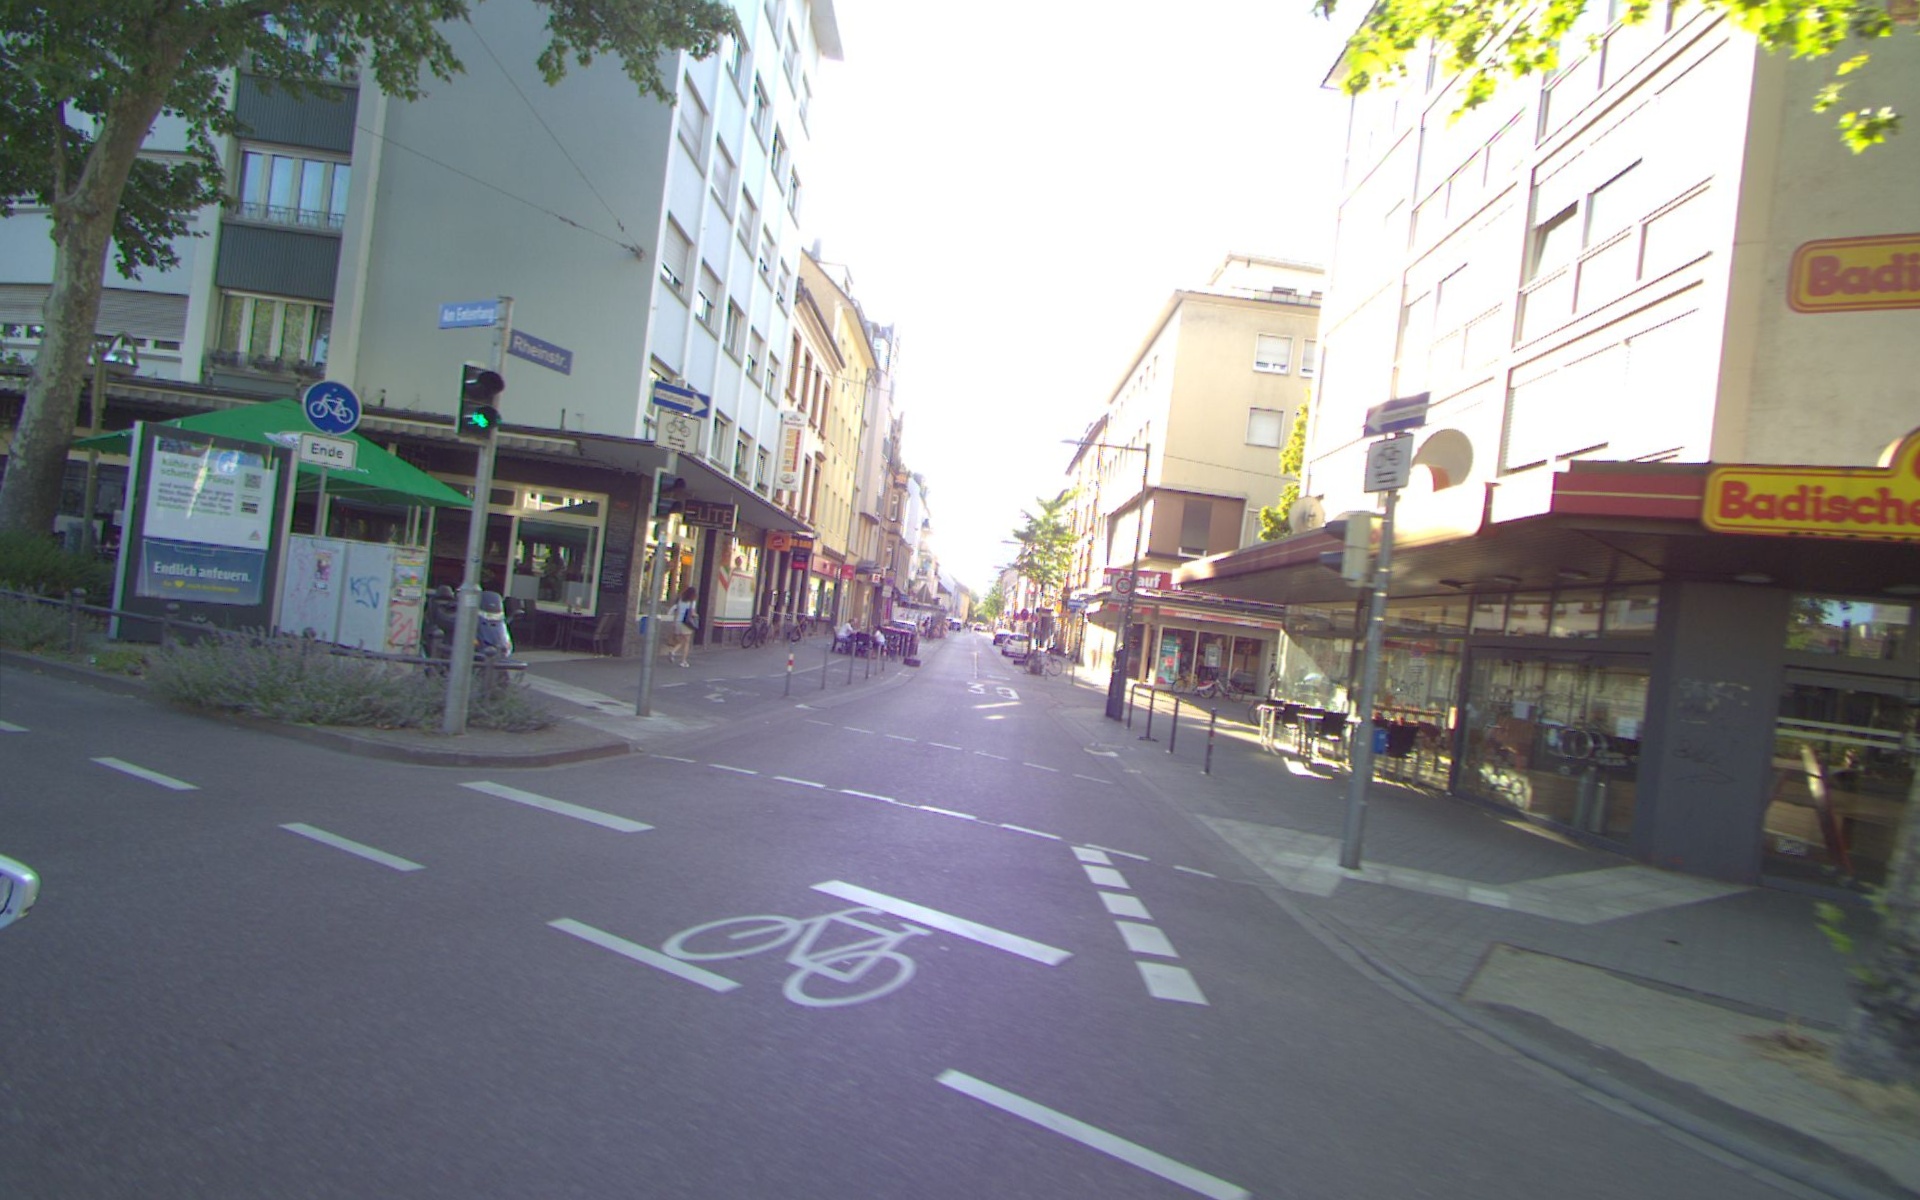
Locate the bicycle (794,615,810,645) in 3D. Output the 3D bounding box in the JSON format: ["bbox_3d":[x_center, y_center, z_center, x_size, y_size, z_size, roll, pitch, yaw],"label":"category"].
[{"bbox_3d":[-6.174,1.159,39.391,0.289,1.054,1.717,5,1,0],"label":"bicycle"}]

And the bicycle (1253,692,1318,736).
[{"bbox_3d":[9.097,3.178,28.125,1.577,0.993,0.357,8,-1,0],"label":"bicycle"}]

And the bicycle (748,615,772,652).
[{"bbox_3d":[-6.053,1.010,30.484,0.289,1.053,1.719,5,-1,0],"label":"bicycle"}]

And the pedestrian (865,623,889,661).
[{"bbox_3d":[-2.985,1.525,36.270,0.682,1.257,0.598,9,-1,-3],"label":"pedestrian"}]

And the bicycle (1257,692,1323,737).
[{"bbox_3d":[9.085,3.145,27.702,1.577,0.993,0.357,8,-1,0],"label":"bicycle"}]

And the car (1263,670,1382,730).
[{"bbox_3d":[13.243,3.629,36.903,3.661,1.607,1.660,7,-1,4],"label":"car"}]

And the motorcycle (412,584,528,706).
[{"bbox_3d":[-5.508,0.484,11.274,1.441,1.171,0.569,6,-3,44],"label":"motorcycle"}]

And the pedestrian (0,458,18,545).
[{"bbox_3d":[-19.635,-2.018,20.492,0.303,1.737,0.358,8,-1,26],"label":"pedestrian"}]

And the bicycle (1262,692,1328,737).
[{"bbox_3d":[9.094,3.098,27.304,1.577,0.993,0.357,8,-1,0],"label":"bicycle"}]

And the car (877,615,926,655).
[{"bbox_3d":[-2.682,1.605,46.928,1.808,1.513,4.000,9,-1,1],"label":"car"}]

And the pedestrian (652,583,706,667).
[{"bbox_3d":[-5.650,0.499,20.215,0.709,1.566,0.600,9,-2,-28],"label":"pedestrian"}]

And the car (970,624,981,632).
[{"bbox_3d":[2.876,5.240,187.335,1.808,1.323,4.002,7,-1,3],"label":"car"}]

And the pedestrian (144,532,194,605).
[{"bbox_3d":[-14.285,-0.557,18.165,0.392,1.252,0.452,7,0,1],"label":"pedestrian"}]

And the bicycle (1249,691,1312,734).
[{"bbox_3d":[9.088,3.195,28.548,1.577,0.993,0.357,8,-1,0],"label":"bicycle"}]

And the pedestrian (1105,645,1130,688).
[{"bbox_3d":[6.115,2.583,39.181,0.654,1.593,0.695,8,-1,0],"label":"pedestrian"}]

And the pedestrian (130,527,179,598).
[{"bbox_3d":[-15.084,-0.700,18.838,0.443,1.252,0.400,7,0,2],"label":"pedestrian"}]

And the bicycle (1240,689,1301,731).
[{"bbox_3d":[9.065,3.218,29.377,1.577,0.993,0.357,8,-1,0],"label":"bicycle"}]

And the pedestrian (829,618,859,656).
[{"bbox_3d":[-4.183,1.337,36.221,0.721,1.257,0.551,7,-2,35],"label":"pedestrian"}]

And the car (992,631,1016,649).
[{"bbox_3d":[3.839,3.460,86.461,1.808,1.238,4.005,9,-3,5],"label":"car"}]

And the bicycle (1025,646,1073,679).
[{"bbox_3d":[3.769,2.646,42.875,1.876,1.138,0.510,7,0,0],"label":"bicycle"}]

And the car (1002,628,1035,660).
[{"bbox_3d":[3.688,2.766,62.826,1.808,1.680,4.005,8,-2,5],"label":"car"}]
